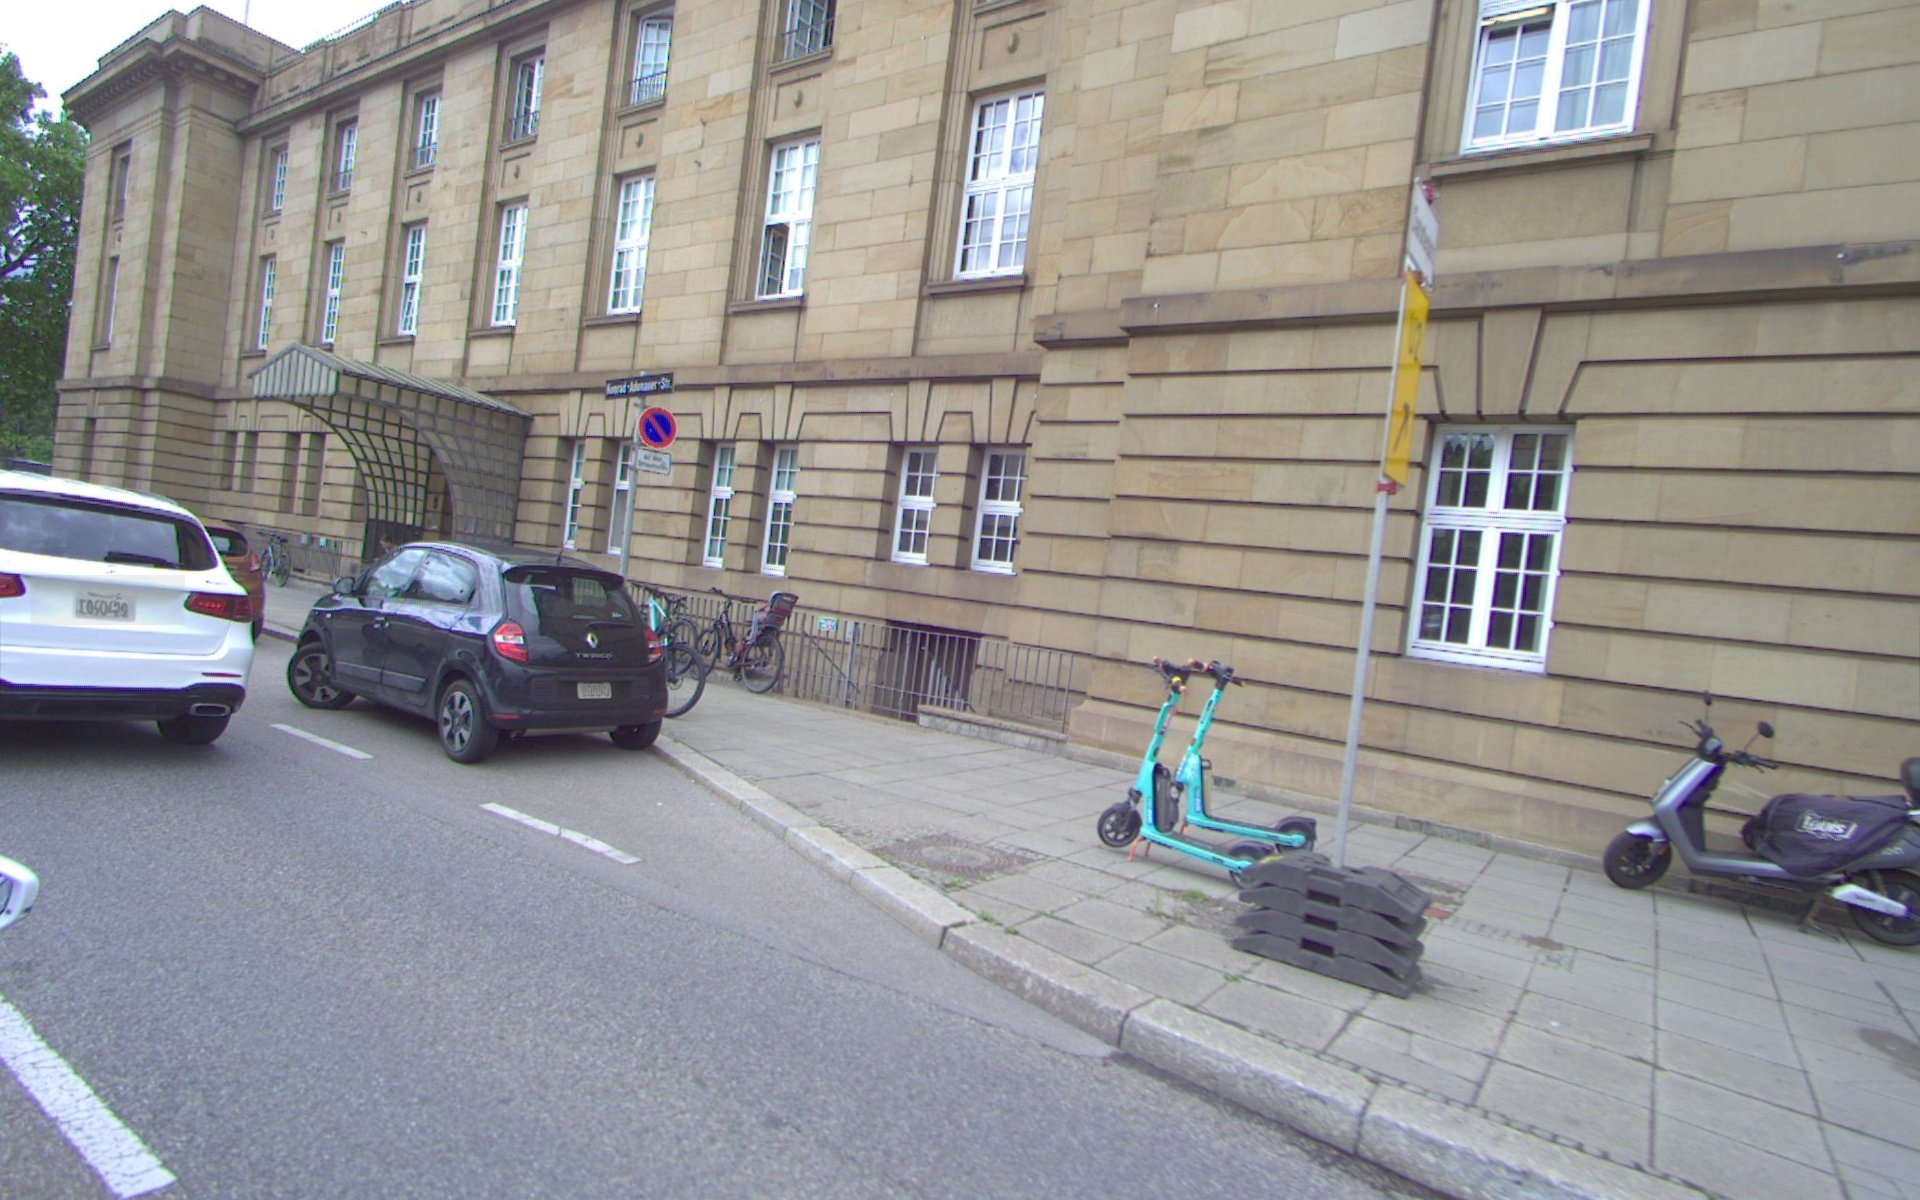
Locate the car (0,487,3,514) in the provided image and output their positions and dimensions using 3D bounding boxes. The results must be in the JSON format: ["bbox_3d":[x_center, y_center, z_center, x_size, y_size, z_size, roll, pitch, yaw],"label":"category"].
[{"bbox_3d":[-20.309,-1.667,19.280,4.255,1.503,1.791,7,-1,32],"label":"car"}]

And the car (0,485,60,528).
[{"bbox_3d":[-42.766,-4.319,44.648,1.653,1.587,3.839,7,-1,35],"label":"car"}]

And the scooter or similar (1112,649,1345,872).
[{"bbox_3d":[1.776,1.034,6.740,1.343,1.268,0.452,6,0,14],"label":"scooter or similar"}]

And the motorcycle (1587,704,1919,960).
[{"bbox_3d":[5.293,1.448,6.554,1.894,1.258,0.454,7,1,38],"label":"motorcycle"}]

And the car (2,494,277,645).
[{"bbox_3d":[-10.433,-0.415,12.723,3.797,1.473,1.616,7,1,34],"label":"car"}]

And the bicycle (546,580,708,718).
[{"bbox_3d":[-3.460,0.482,10.378,1.801,1.171,0.460,7,0,34],"label":"bicycle"}]

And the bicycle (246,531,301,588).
[{"bbox_3d":[-14.535,-0.868,21.287,1.829,1.041,0.222,7,-1,35],"label":"bicycle"}]

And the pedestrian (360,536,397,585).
[{"bbox_3d":[-11.483,-0.777,19.865,0.367,0.883,0.429,6,-2,36],"label":"pedestrian"}]

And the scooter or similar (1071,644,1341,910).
[{"bbox_3d":[1.433,0.990,5.985,1.381,1.277,0.380,7,0,35],"label":"scooter or similar"}]

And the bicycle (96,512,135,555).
[{"bbox_3d":[-22.832,-1.810,27.187,1.931,1.010,0.240,7,0,35],"label":"bicycle"}]

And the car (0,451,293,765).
[{"bbox_3d":[-6.660,-0.114,6.825,4.364,1.643,1.792,7,-2,32],"label":"car"}]

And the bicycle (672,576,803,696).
[{"bbox_3d":[-2.860,0.442,12.818,1.762,1.304,0.412,7,0,35],"label":"bicycle"}]

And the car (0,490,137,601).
[{"bbox_3d":[-14.564,-0.946,15.552,3.932,1.444,1.709,7,1,34],"label":"car"}]

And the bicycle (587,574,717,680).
[{"bbox_3d":[-4.272,0.358,13.889,1.885,1.232,0.555,7,0,35],"label":"bicycle"}]

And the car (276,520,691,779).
[{"bbox_3d":[-4.134,0.284,8.527,3.650,1.573,1.544,7,3,36],"label":"car"}]
